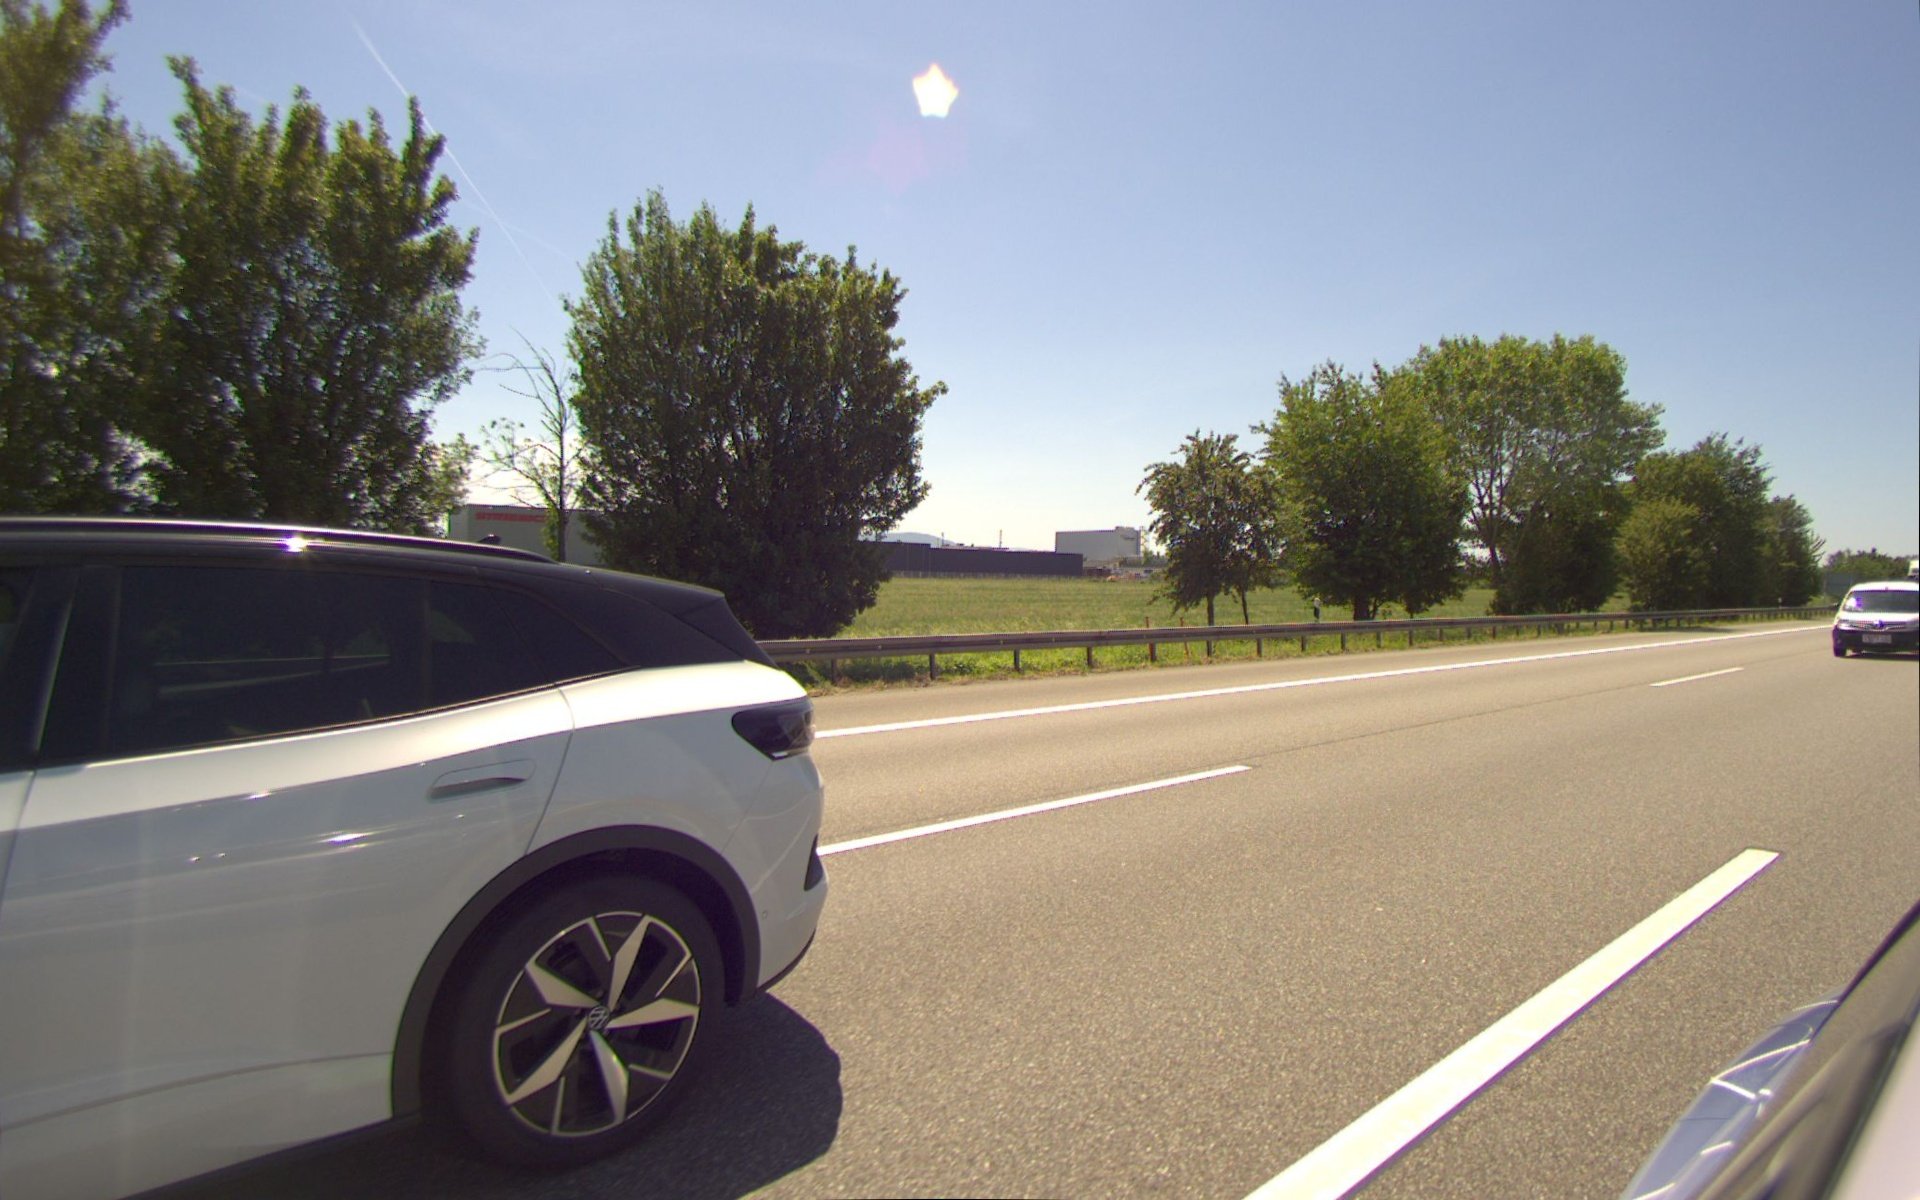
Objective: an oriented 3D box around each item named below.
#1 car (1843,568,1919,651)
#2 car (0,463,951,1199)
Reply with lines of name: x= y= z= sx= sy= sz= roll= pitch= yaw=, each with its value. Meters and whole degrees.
car: x=23.096 y=0.206 z=24.700 sx=4.622 sy=1.886 sz=1.855 roll=0 pitch=0 yaw=-43
car: x=-2.231 y=0.564 z=2.550 sx=4.304 sy=1.623 sz=1.805 roll=0 pitch=0 yaw=-41
